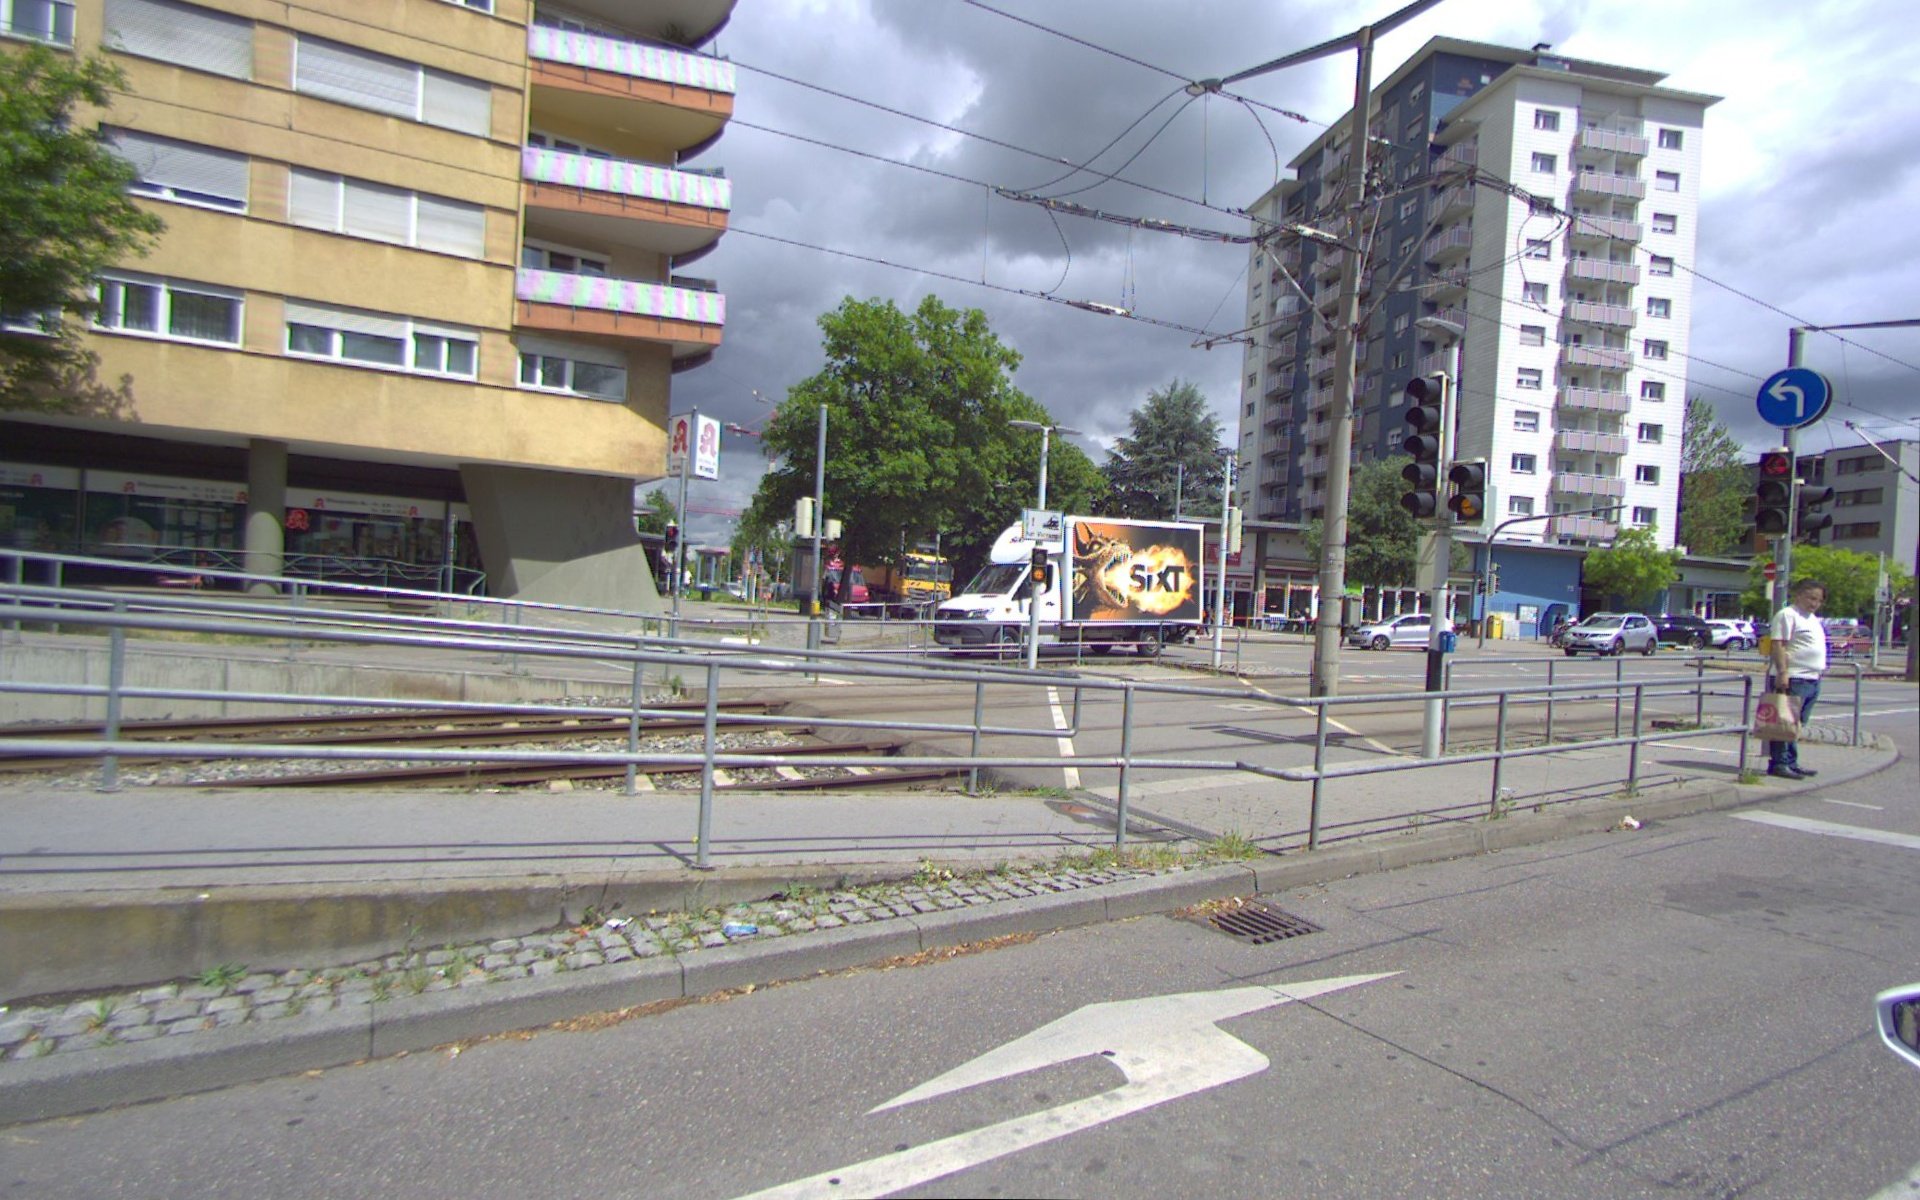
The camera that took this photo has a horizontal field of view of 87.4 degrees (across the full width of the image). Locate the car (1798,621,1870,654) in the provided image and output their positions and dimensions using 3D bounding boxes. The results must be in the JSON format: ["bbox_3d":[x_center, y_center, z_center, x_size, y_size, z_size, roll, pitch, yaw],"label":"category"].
[{"bbox_3d":[44.247,1.888,50.823,3.827,1.554,1.643,1,1,-31],"label":"car"}]

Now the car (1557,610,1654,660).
[{"bbox_3d":[24.458,1.300,38.038,3.730,1.780,1.583,1,1,-30],"label":"car"}]

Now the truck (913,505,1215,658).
[{"bbox_3d":[2.607,-0.338,23.654,7.241,3.160,2.267,1,1,-33],"label":"truck"}]

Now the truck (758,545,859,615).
[{"bbox_3d":[-5.580,-0.726,36.595,2.322,2.321,4.261,1,1,-28],"label":"truck"}]

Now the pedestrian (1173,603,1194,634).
[{"bbox_3d":[11.284,0.948,50.687,0.905,1.530,0.748,1,1,7],"label":"pedestrian"}]

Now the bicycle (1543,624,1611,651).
[{"bbox_3d":[27.318,1.634,44.508,2.521,1.022,0.754,3,0,34],"label":"bicycle"}]

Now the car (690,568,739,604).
[{"bbox_3d":[-14.350,-0.799,58.504,1.974,2.040,3.973,1,0,-26],"label":"car"}]

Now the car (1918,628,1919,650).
[{"bbox_3d":[68.932,2.767,70.439,3.730,1.494,1.583,1,1,-30],"label":"car"}]

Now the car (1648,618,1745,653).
[{"bbox_3d":[39.538,1.886,54.013,3.845,1.669,1.657,1,0,16],"label":"car"}]

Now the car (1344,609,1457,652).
[{"bbox_3d":[16.908,1.163,38.634,3.700,1.480,1.412,1,1,1],"label":"car"}]

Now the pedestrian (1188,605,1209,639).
[{"bbox_3d":[11.106,1.002,46.771,0.905,1.530,0.747,2,1,15],"label":"pedestrian"}]

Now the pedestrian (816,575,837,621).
[{"bbox_3d":[-5.266,-0.095,39.686,0.653,1.799,0.655,1,1,-20],"label":"pedestrian"}]

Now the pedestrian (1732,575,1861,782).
[{"bbox_3d":[7.493,0.675,9.007,0.679,1.757,0.684,1,0,-29],"label":"pedestrian"}]

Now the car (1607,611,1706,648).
[{"bbox_3d":[35.162,1.454,50.834,3.927,1.709,1.573,1,1,29],"label":"car"}]

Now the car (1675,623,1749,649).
[{"bbox_3d":[41.749,1.996,55.833,3.051,1.298,1.466,2,1,30],"label":"car"}]

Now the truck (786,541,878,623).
[{"bbox_3d":[-6.377,-0.890,49.081,2.191,3.688,7.125,1,1,-27],"label":"truck"}]

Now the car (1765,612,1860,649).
[{"bbox_3d":[49.760,1.735,58.737,3.846,2.001,1.657,1,0,19],"label":"car"}]
